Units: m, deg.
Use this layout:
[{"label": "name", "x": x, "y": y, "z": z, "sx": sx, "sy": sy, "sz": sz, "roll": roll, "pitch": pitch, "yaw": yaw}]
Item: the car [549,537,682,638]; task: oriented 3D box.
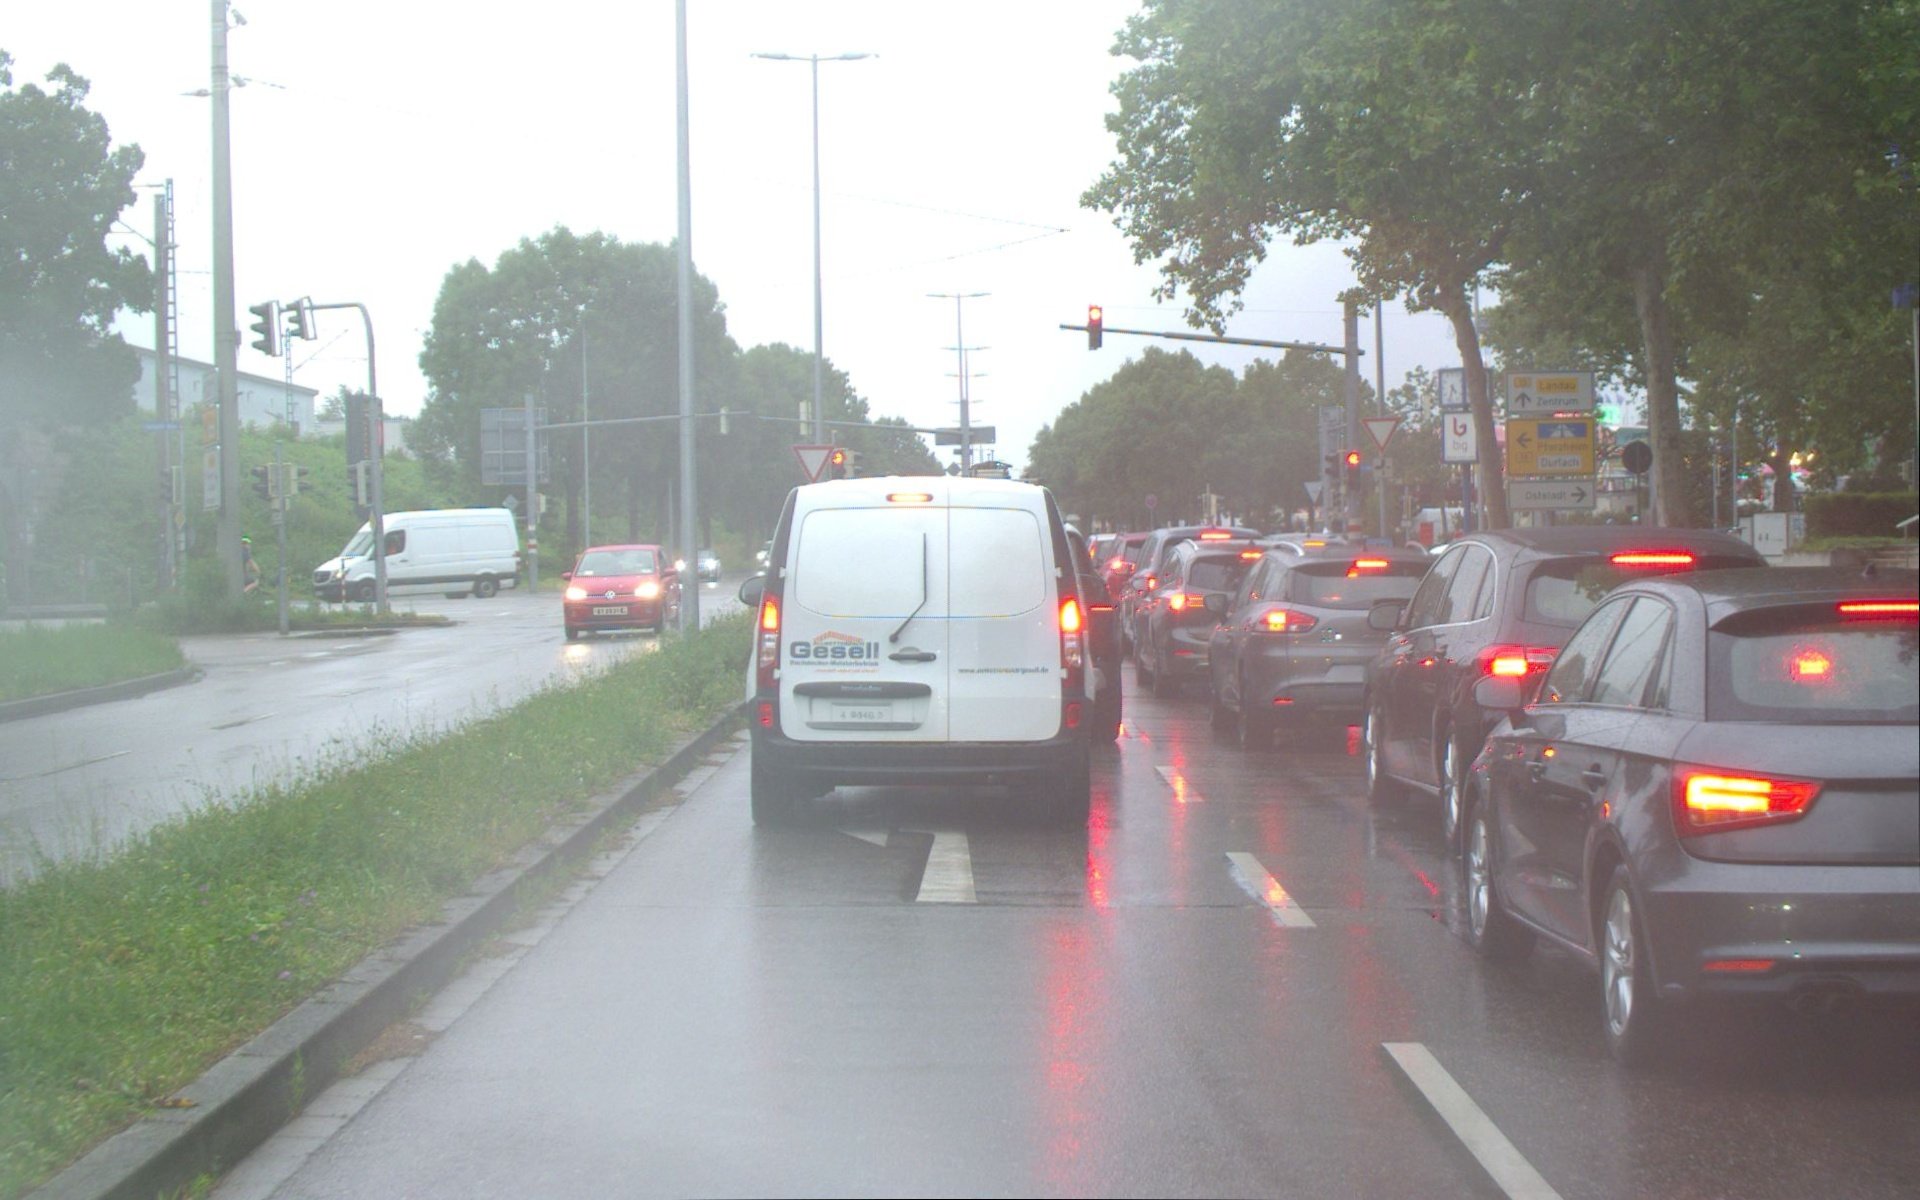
[{"label": "car", "x": -5.617, "y": -0.227, "z": 56.378, "sx": 1.716, "sy": 1.508, "sz": 3.614, "roll": -2, "pitch": 1, "yaw": 1}]

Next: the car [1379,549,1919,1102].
[{"label": "car", "x": 2.640, "y": 0.570, "z": 11.026, "sx": 1.993, "sy": 1.447, "sz": 4.000, "roll": 0, "pitch": 1, "yaw": -1}]

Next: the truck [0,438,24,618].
[{"label": "truck", "x": -22.891, "y": -1.408, "z": 64.271, "sx": 10.110, "sy": 3.440, "sz": 2.658, "roll": 0, "pitch": -1, "yaw": -36}]

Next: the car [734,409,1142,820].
[{"label": "car", "x": -0.155, "y": 0.087, "z": 18.846, "sx": 1.993, "sy": 2.007, "sz": 4.000, "roll": 0, "pitch": 0, "yaw": -1}]

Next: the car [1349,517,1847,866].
[{"label": "car", "x": 3.121, "y": 0.367, "z": 17.603, "sx": 1.708, "sy": 1.544, "sz": 4.001, "roll": 0, "pitch": 2, "yaw": -1}]

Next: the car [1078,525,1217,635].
[{"label": "car", "x": 2.559, "y": -0.305, "z": 47.662, "sx": 1.711, "sy": 1.440, "sz": 4.000, "roll": 0, "pitch": 1, "yaw": 0}]

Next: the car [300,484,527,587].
[{"label": "car", "x": -15.219, "y": -1.765, "z": 95.905, "sx": 6.001, "sy": 2.734, "sz": 2.000, "roll": 0, "pitch": -1, "yaw": -36}]

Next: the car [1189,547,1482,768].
[{"label": "car", "x": 2.665, "y": 0.360, "z": 25.149, "sx": 1.711, "sy": 1.440, "sz": 4.000, "roll": 0, "pitch": 1, "yaw": 0}]

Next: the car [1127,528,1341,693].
[{"label": "car", "x": 2.534, "y": 0.050, "z": 32.575, "sx": 1.711, "sy": 1.440, "sz": 4.000, "roll": 0, "pitch": 1, "yaw": 0}]

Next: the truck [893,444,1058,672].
[{"label": "truck", "x": 0.130, "y": -0.476, "z": 39.114, "sx": 1.756, "sy": 2.458, "sz": 4.000, "roll": 0, "pitch": 1, "yaw": -1}]
